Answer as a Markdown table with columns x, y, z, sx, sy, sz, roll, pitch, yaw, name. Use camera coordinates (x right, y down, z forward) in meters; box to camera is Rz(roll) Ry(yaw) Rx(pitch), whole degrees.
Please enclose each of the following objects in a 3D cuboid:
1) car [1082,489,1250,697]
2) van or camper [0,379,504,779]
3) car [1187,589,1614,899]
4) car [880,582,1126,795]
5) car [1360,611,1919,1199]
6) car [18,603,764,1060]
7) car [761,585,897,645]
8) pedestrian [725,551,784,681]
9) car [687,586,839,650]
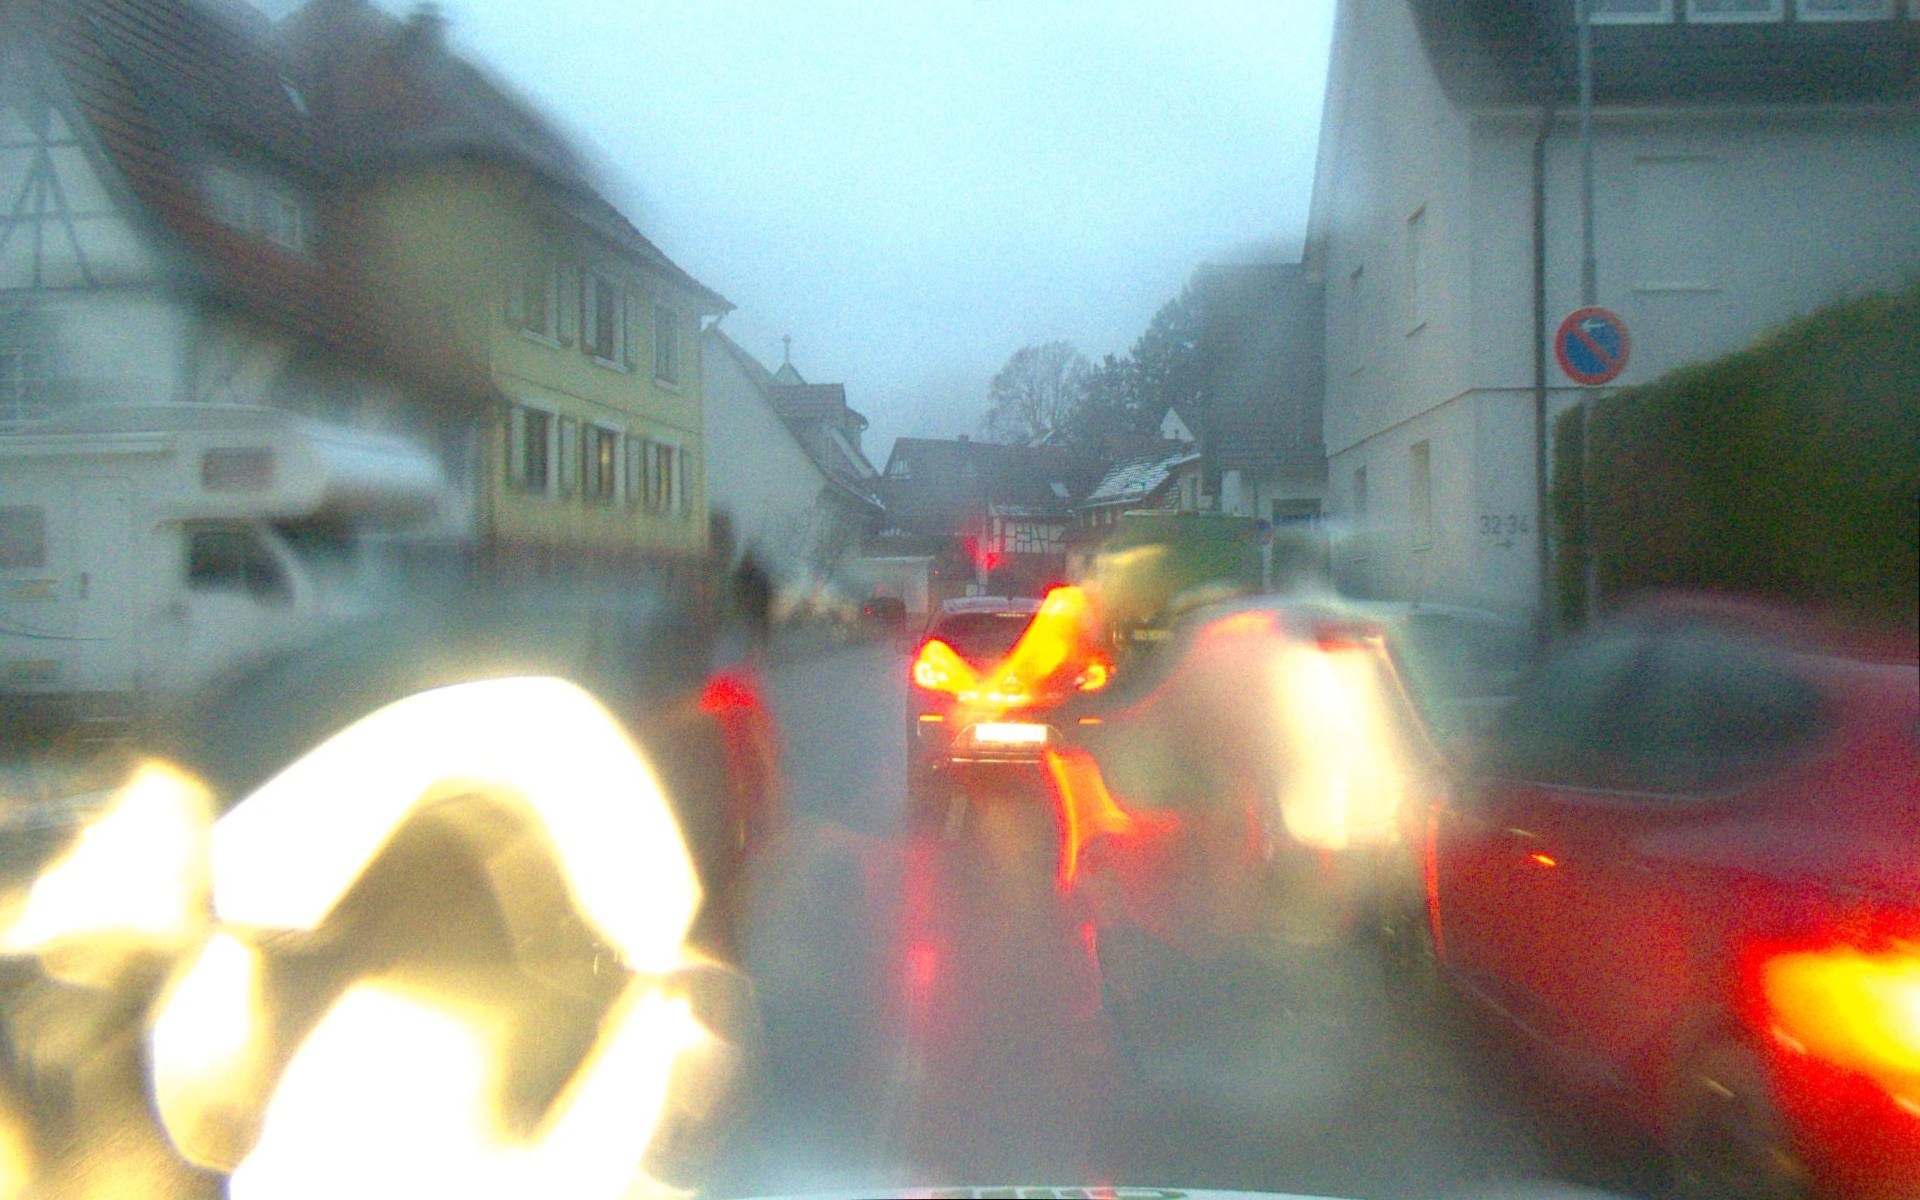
| x | y | z | sx | sy | sz | roll | pitch | yaw | name |
| --- | --- | --- | --- | --- | --- | --- | --- | --- | --- |
| 2.560 | -0.095 | 21.342 | 1.776 | 2.455 | 3.752 | 0 | 0 | 1 | car |
| -7.369 | -0.092 | 14.434 | 5.933 | 3.006 | 2.408 | -3 | 0 | 5 | van or camper |
| 2.446 | 0.704 | 10.100 | 1.689 | 1.534 | 3.752 | 0 | 0 | 1 | car |
| 0.343 | 0.635 | 14.007 | 1.758 | 1.502 | 4.000 | 1 | 0 | 1 | car |
| 2.410 | 0.763 | 4.627 | 1.645 | 1.419 | 3.751 | 0 | 0 | -1 | car |
| -2.077 | 0.744 | 7.471 | 1.830 | 1.426 | 4.366 | 0 | 0 | 0 | car |
| -3.445 | 0.378 | 43.830 | 3.435 | 1.533 | 1.692 | 0 | 0 | 1 | car |
| -3.272 | 0.250 | 26.399 | 0.855 | 2.049 | 0.794 | 0 | 0 | -1 | pedestrian |
| -4.876 | 0.425 | 41.149 | 3.433 | 1.533 | 1.693 | 0 | 0 | 7 | car |
